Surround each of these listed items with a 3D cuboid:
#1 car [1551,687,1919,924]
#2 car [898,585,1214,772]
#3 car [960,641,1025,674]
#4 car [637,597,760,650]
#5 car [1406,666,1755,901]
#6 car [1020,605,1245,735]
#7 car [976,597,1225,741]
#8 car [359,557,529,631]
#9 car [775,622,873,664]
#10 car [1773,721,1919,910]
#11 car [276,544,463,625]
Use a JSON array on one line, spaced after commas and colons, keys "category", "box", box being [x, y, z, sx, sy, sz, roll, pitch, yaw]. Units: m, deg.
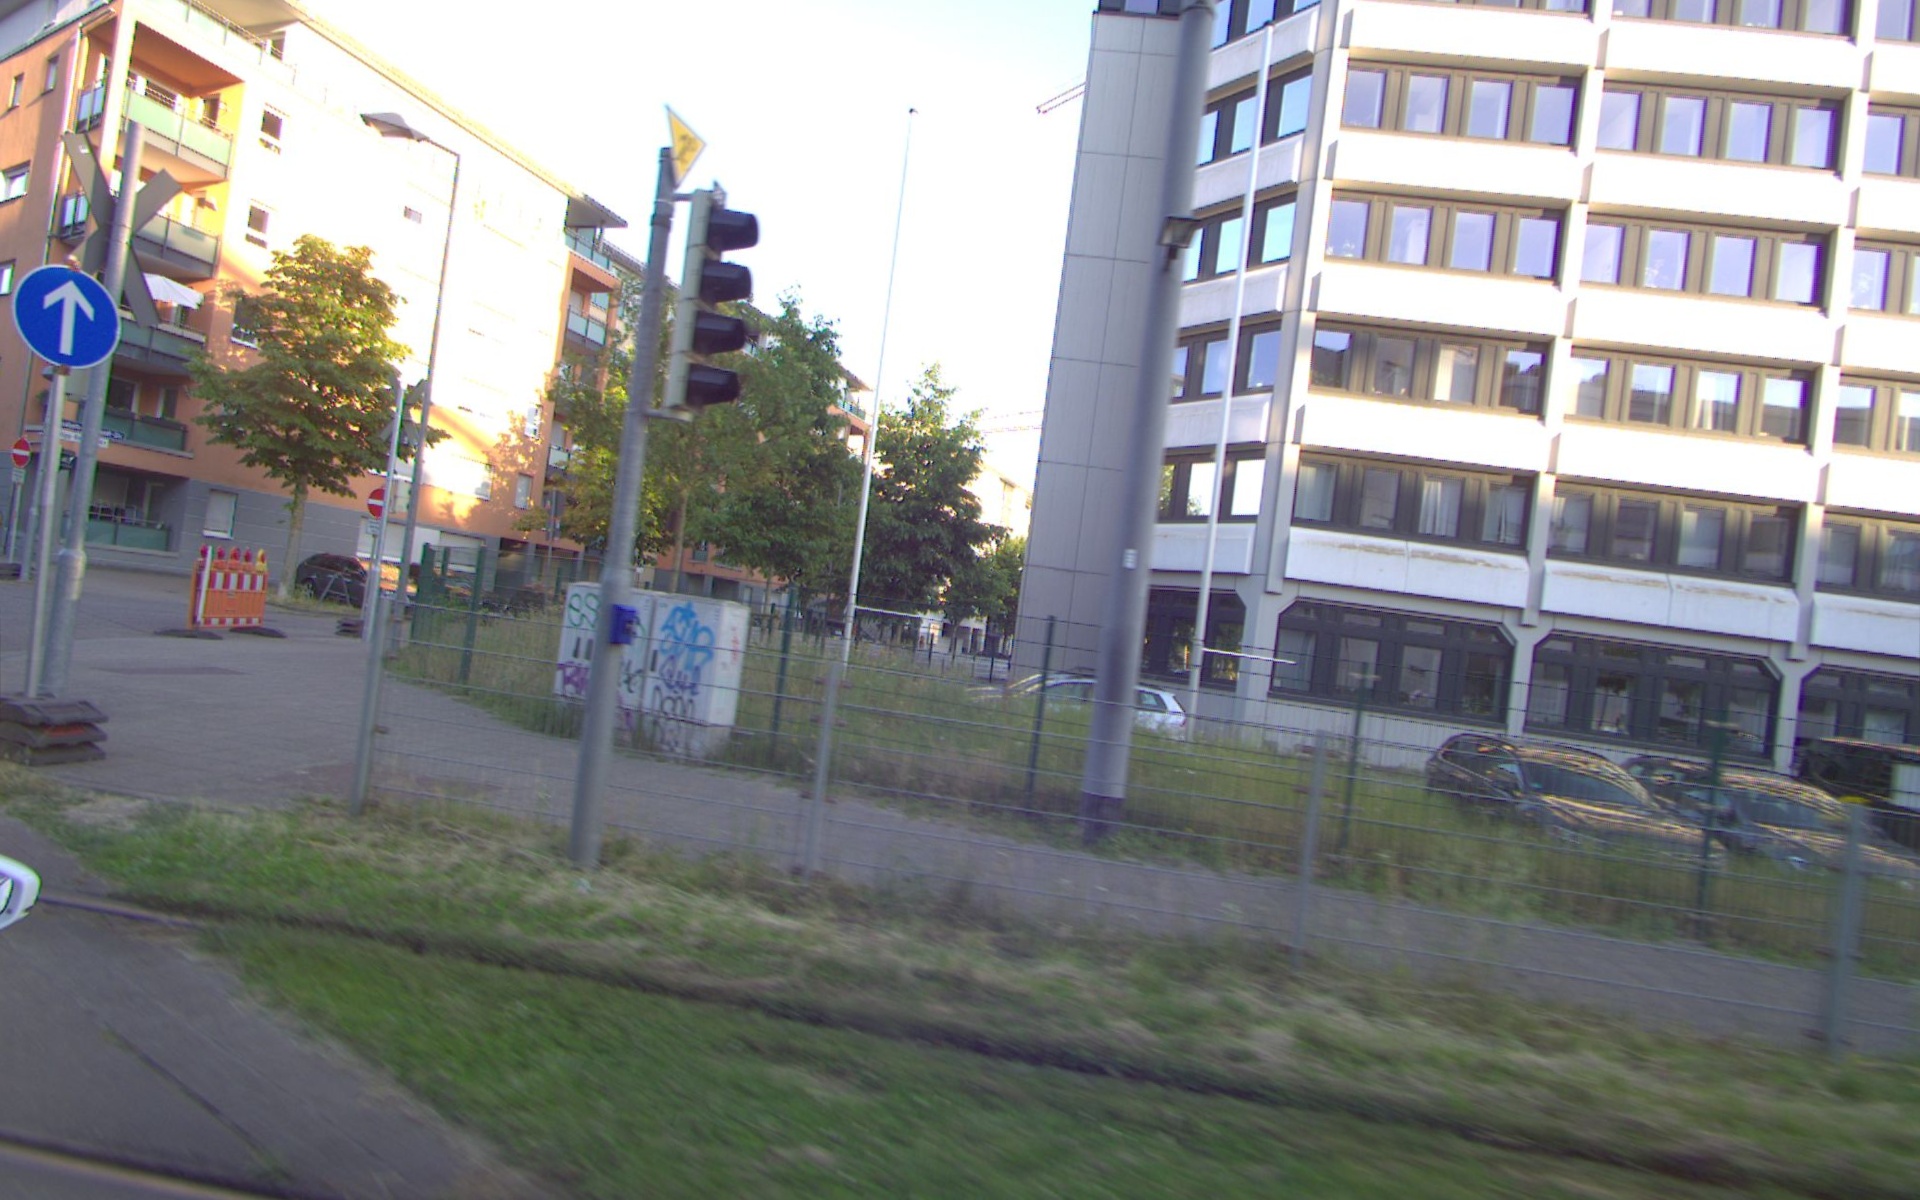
[{"category": "car", "box": [9.264, 2.270, 12.320, 1.962, 2.036, 4.006, 8, -2, 9]}, {"category": "car", "box": [1.384, 1.099, 14.751, 3.932, 2.037, 1.998, 7, -2, 30]}, {"category": "car", "box": [2.637, 4.678, 81.697, 4.727, 2.007, 2.001, 7, -1, 22]}, {"category": "car", "box": [-11.400, 1.042, 43.831, 4.725, 1.613, 2.001, 7, -1, 20]}, {"category": "car", "box": [7.071, 1.950, 12.055, 1.962, 2.036, 4.006, 8, -2, 9]}, {"category": "car", "box": [3.544, 1.419, 20.724, 3.932, 2.037, 1.998, 7, -2, 30]}, {"category": "car", "box": [2.606, 1.266, 18.767, 3.932, 2.037, 1.998, 7, -2, 30]}, {"category": "car", "box": [-16.138, -0.199, 31.475, 4.727, 1.612, 2.001, 7, -2, 22]}, {"category": "car", "box": [-7.383, 2.350, 54.576, 4.725, 1.613, 2.001, 7, -1, 20]}, {"category": "car", "box": [12.195, 2.712, 12.001, 1.962, 2.036, 4.006, 8, -2, 9]}, {"category": "car", "box": [-16.895, -0.449, 28.785, 4.727, 1.612, 2.002, 7, -3, 22]}]
